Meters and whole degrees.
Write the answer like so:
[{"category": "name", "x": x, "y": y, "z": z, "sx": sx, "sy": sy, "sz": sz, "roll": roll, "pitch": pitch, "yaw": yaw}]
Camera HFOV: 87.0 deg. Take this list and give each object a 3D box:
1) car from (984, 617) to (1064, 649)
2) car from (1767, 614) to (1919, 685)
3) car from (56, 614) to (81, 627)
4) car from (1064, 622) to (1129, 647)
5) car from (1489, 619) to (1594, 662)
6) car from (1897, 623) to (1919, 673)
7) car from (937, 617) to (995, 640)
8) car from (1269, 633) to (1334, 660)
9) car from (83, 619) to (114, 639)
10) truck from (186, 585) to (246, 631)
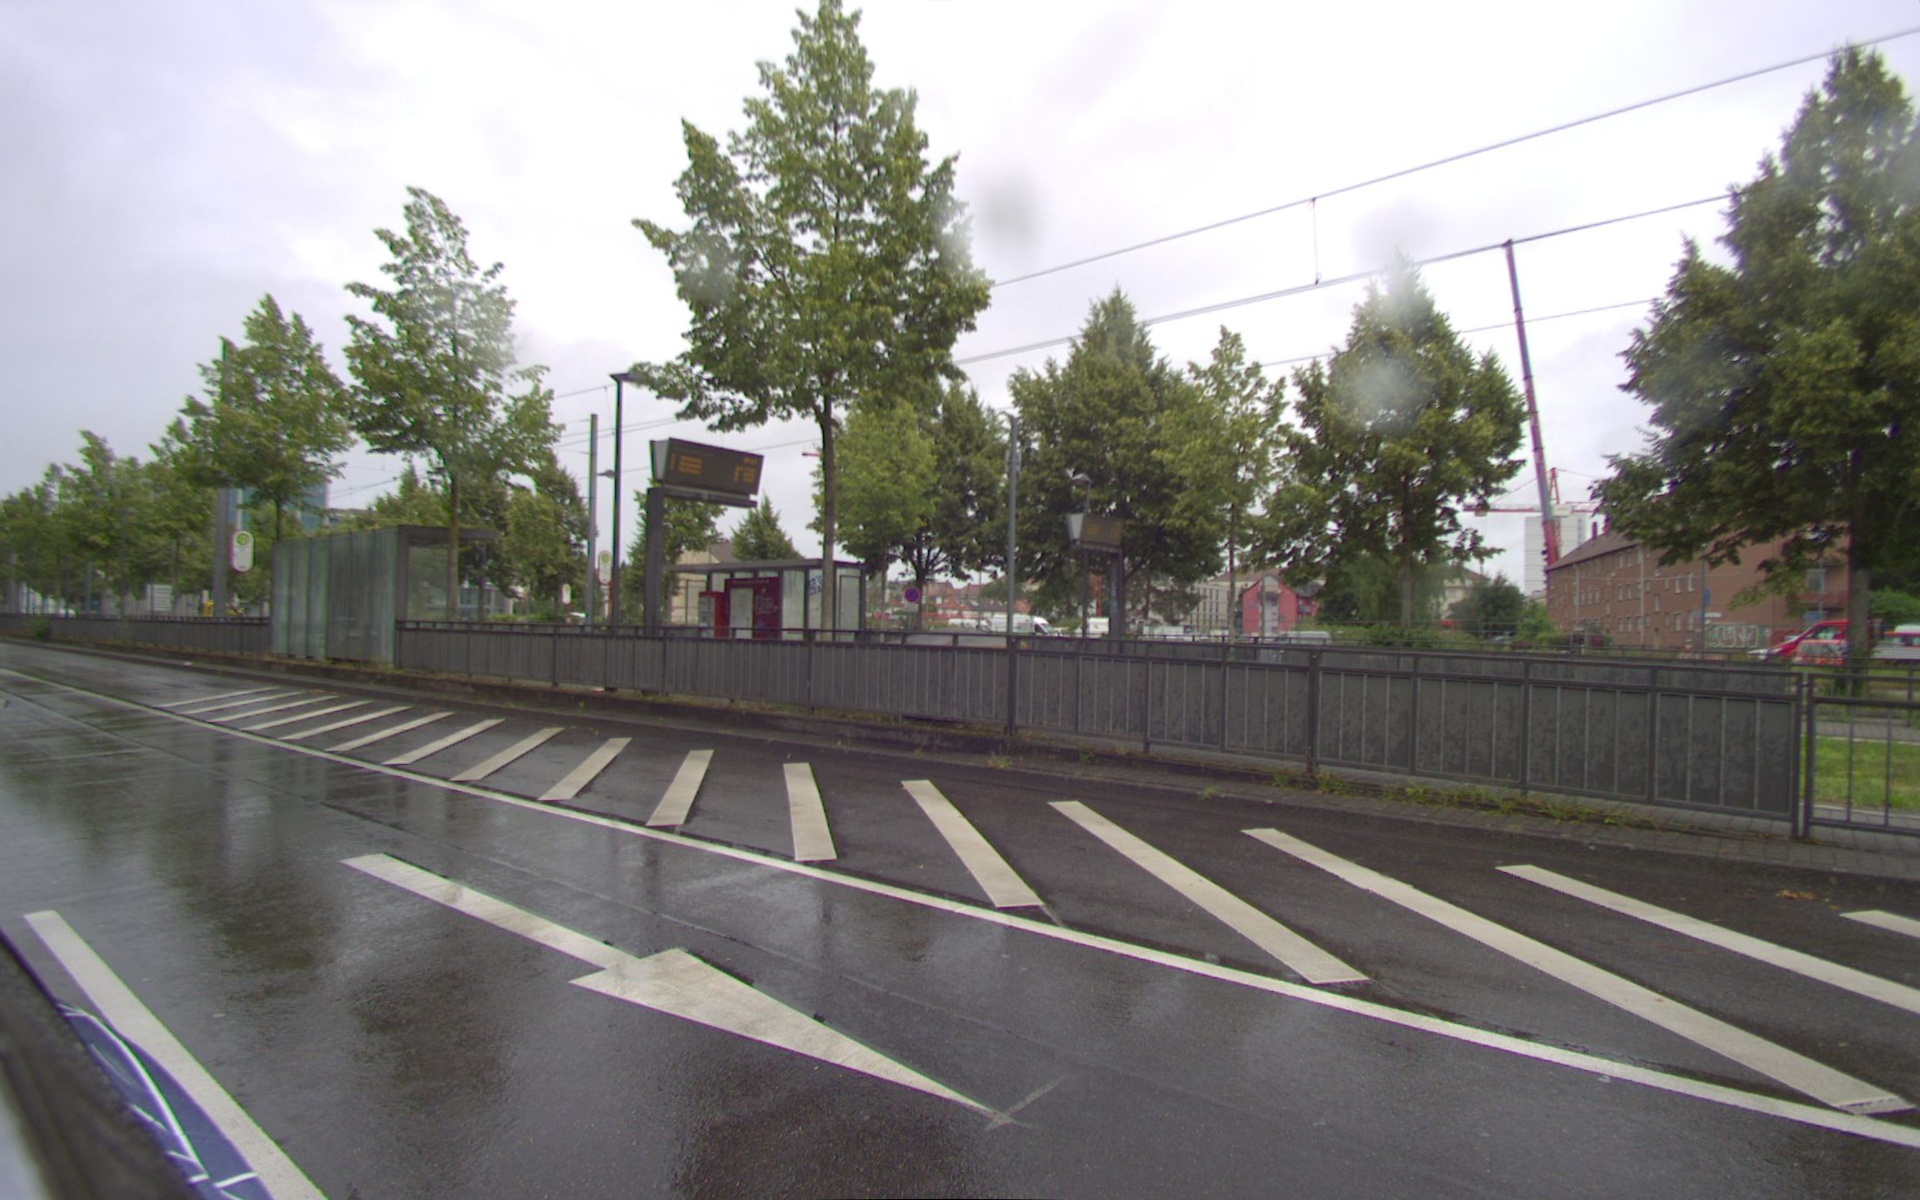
[{"category": "car", "x": 5.386, "y": 2.731, "z": 85.755, "sx": 6.735, "sy": 2.480, "sz": 1.975, "roll": 0, "pitch": 0, "yaw": 37}, {"category": "car", "x": 33.537, "y": 1.761, "z": 36.658, "sx": 1.597, "sy": 2.489, "sz": 6.500, "roll": 2, "pitch": -2, "yaw": -39}, {"category": "car", "x": -126.464, "y": 2.885, "z": 143.596, "sx": 3.995, "sy": 1.759, "sz": 1.974, "roll": 0, "pitch": 0, "yaw": 38}, {"category": "car", "x": 11.954, "y": 2.995, "z": 88.712, "sx": 5.412, "sy": 2.067, "sz": 1.976, "roll": 0, "pitch": 0, "yaw": 37}, {"category": "car", "x": 35.887, "y": 2.442, "z": 62.487, "sx": 5.482, "sy": 2.471, "sz": 1.976, "roll": 0, "pitch": 0, "yaw": 36}, {"category": "car", "x": 45.945, "y": 2.162, "z": 44.955, "sx": 1.597, "sy": 2.296, "sz": 6.114, "roll": 2, "pitch": -3, "yaw": -37}, {"category": "car", "x": 0.600, "y": 2.973, "z": 108.314, "sx": 6.123, "sy": 2.323, "sz": 1.978, "roll": 0, "pitch": 0, "yaw": 32}, {"category": "car", "x": 26.258, "y": 3.536, "z": 77.898, "sx": 4.415, "sy": 1.891, "sz": 1.855, "roll": 0, "pitch": 0, "yaw": 34}, {"category": "car", "x": -91.334, "y": 3.071, "z": 107.305, "sx": 3.996, "sy": 2.029, "sz": 1.739, "roll": -1, "pitch": -2, "yaw": 39}, {"category": "truck", "x": -65.209, "y": 0.676, "z": 88.607, "sx": 9.184, "sy": 3.806, "sz": 2.657, "roll": 0, "pitch": 0, "yaw": 43}]
